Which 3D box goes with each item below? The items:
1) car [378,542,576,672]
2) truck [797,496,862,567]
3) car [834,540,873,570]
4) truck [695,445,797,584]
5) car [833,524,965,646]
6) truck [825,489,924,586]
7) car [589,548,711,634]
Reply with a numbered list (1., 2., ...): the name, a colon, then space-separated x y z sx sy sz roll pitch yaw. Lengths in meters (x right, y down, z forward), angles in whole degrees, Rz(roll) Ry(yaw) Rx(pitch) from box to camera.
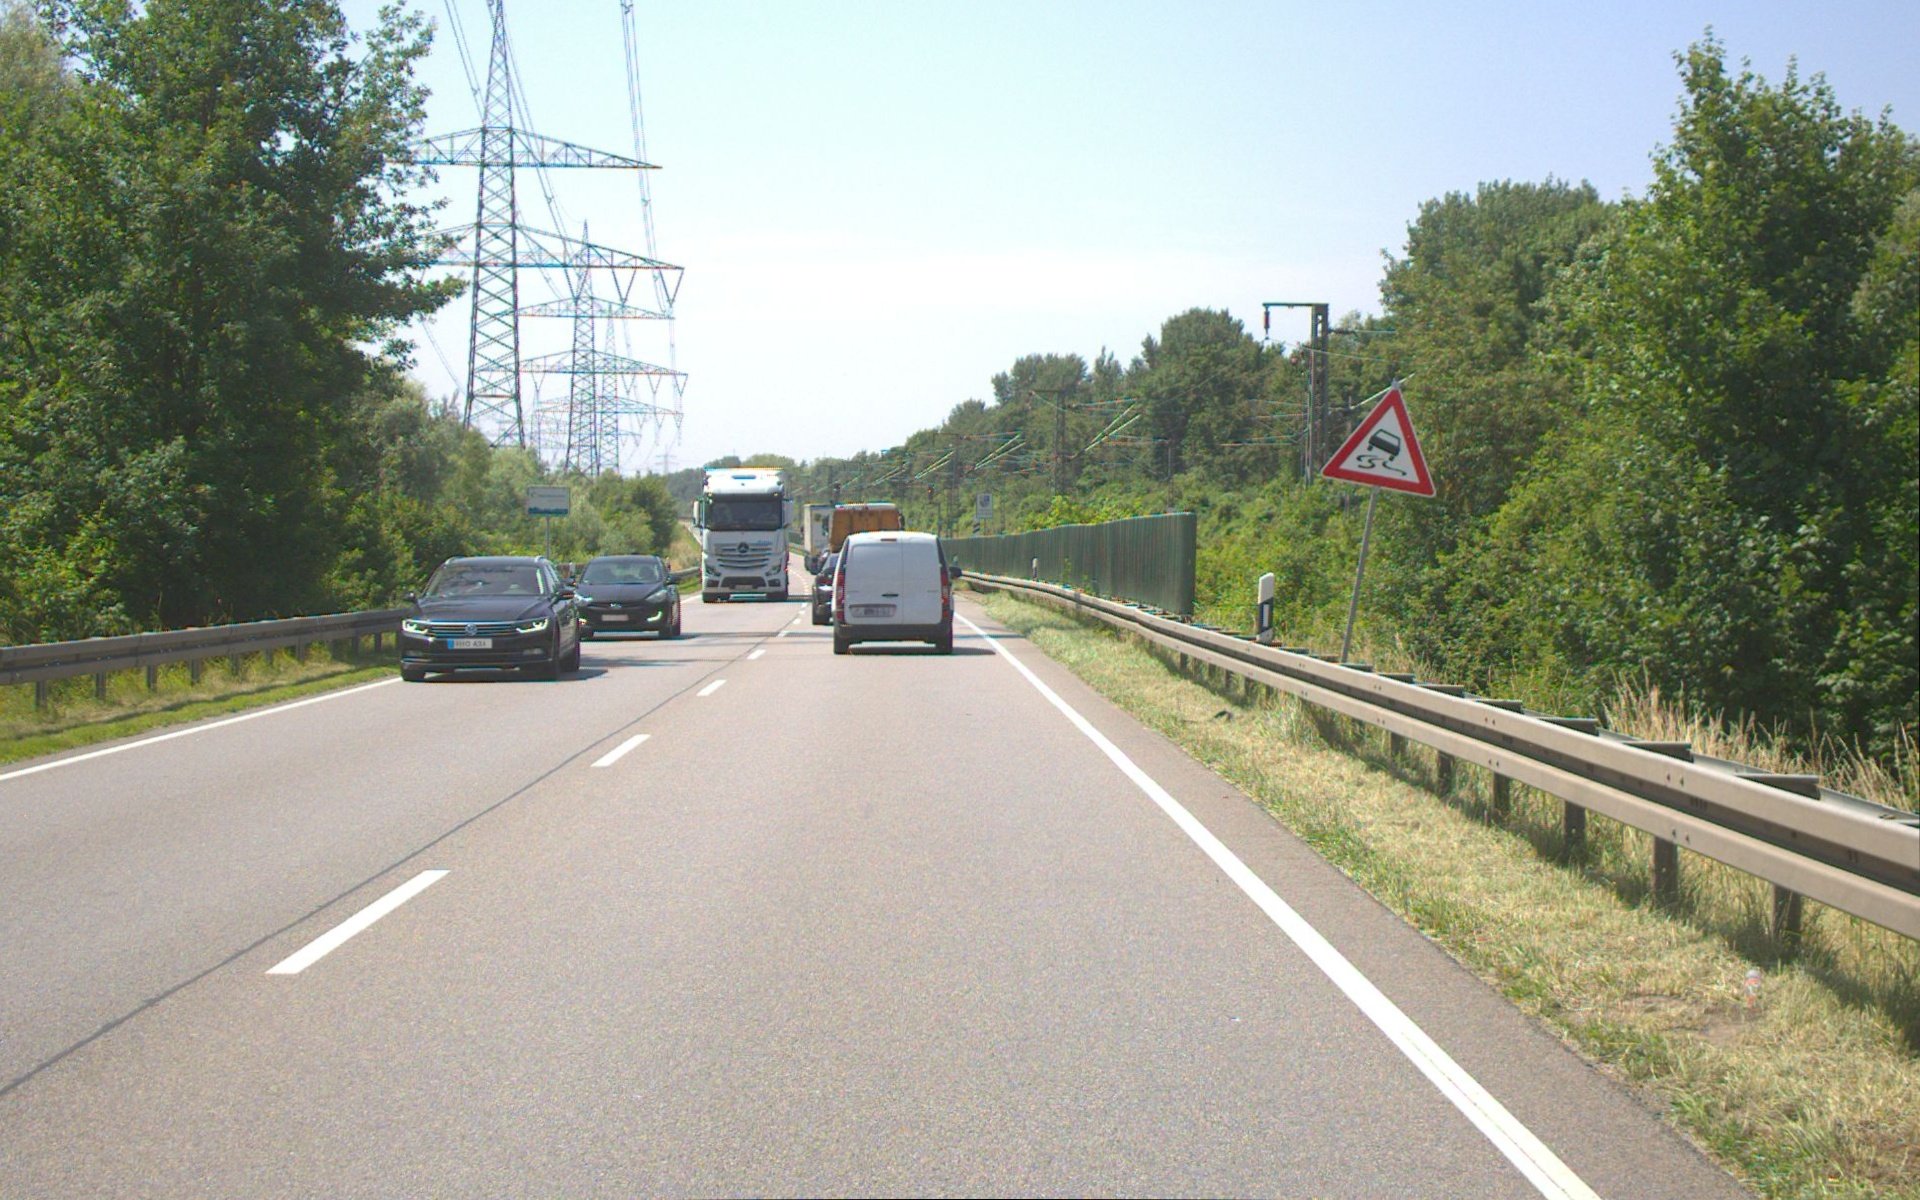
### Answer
1. car: -5.772 0.045 41.469 1.845 1.492 4.000 0 1 0
2. truck: -7.974 -4.217 208.497 3.402 3.841 16.821 3 2 -3
3. car: -5.464 -2.308 175.997 1.993 1.521 4.000 0 1 -2
4. truck: -6.539 -2.618 106.314 2.742 4.028 9.665 -1 1 -2
5. car: -0.919 -0.249 51.329 1.875 1.735 4.000 1 1 -1
6. truck: -3.278 -2.423 127.438 3.296 3.161 14.407 3 2 -2
7. car: -5.412 -0.189 60.370 1.801 1.449 4.000 0 1 0
